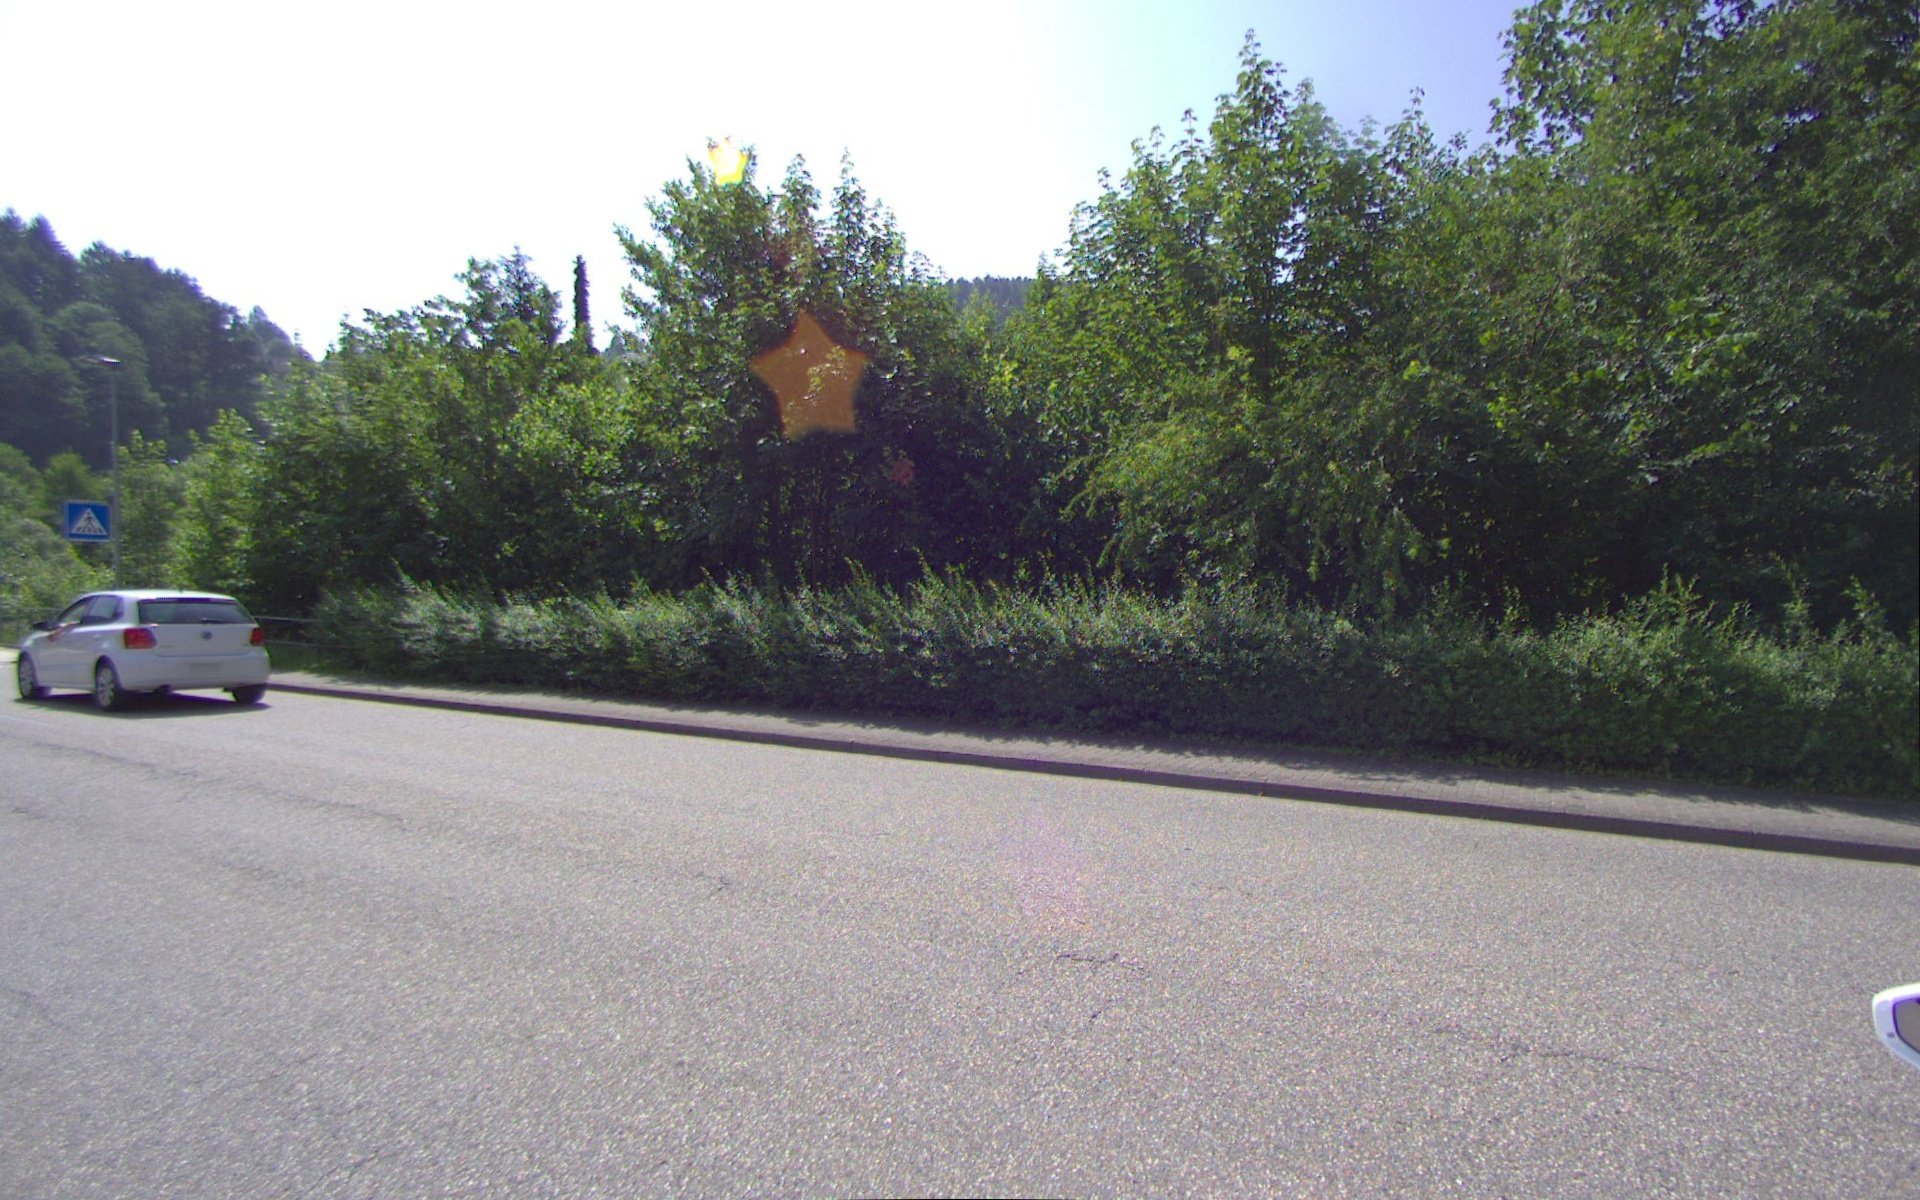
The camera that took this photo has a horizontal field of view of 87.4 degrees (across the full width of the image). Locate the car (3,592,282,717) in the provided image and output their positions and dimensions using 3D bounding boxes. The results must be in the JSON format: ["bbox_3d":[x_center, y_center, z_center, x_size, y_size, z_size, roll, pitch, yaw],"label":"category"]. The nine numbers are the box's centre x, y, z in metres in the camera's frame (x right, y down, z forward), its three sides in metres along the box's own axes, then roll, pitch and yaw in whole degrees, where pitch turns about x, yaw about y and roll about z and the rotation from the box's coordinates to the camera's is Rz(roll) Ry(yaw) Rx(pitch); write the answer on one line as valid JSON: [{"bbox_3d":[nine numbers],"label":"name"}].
[{"bbox_3d":[-10.808,0.647,13.246,3.759,1.424,1.607,1,-2,30],"label":"car"}]
